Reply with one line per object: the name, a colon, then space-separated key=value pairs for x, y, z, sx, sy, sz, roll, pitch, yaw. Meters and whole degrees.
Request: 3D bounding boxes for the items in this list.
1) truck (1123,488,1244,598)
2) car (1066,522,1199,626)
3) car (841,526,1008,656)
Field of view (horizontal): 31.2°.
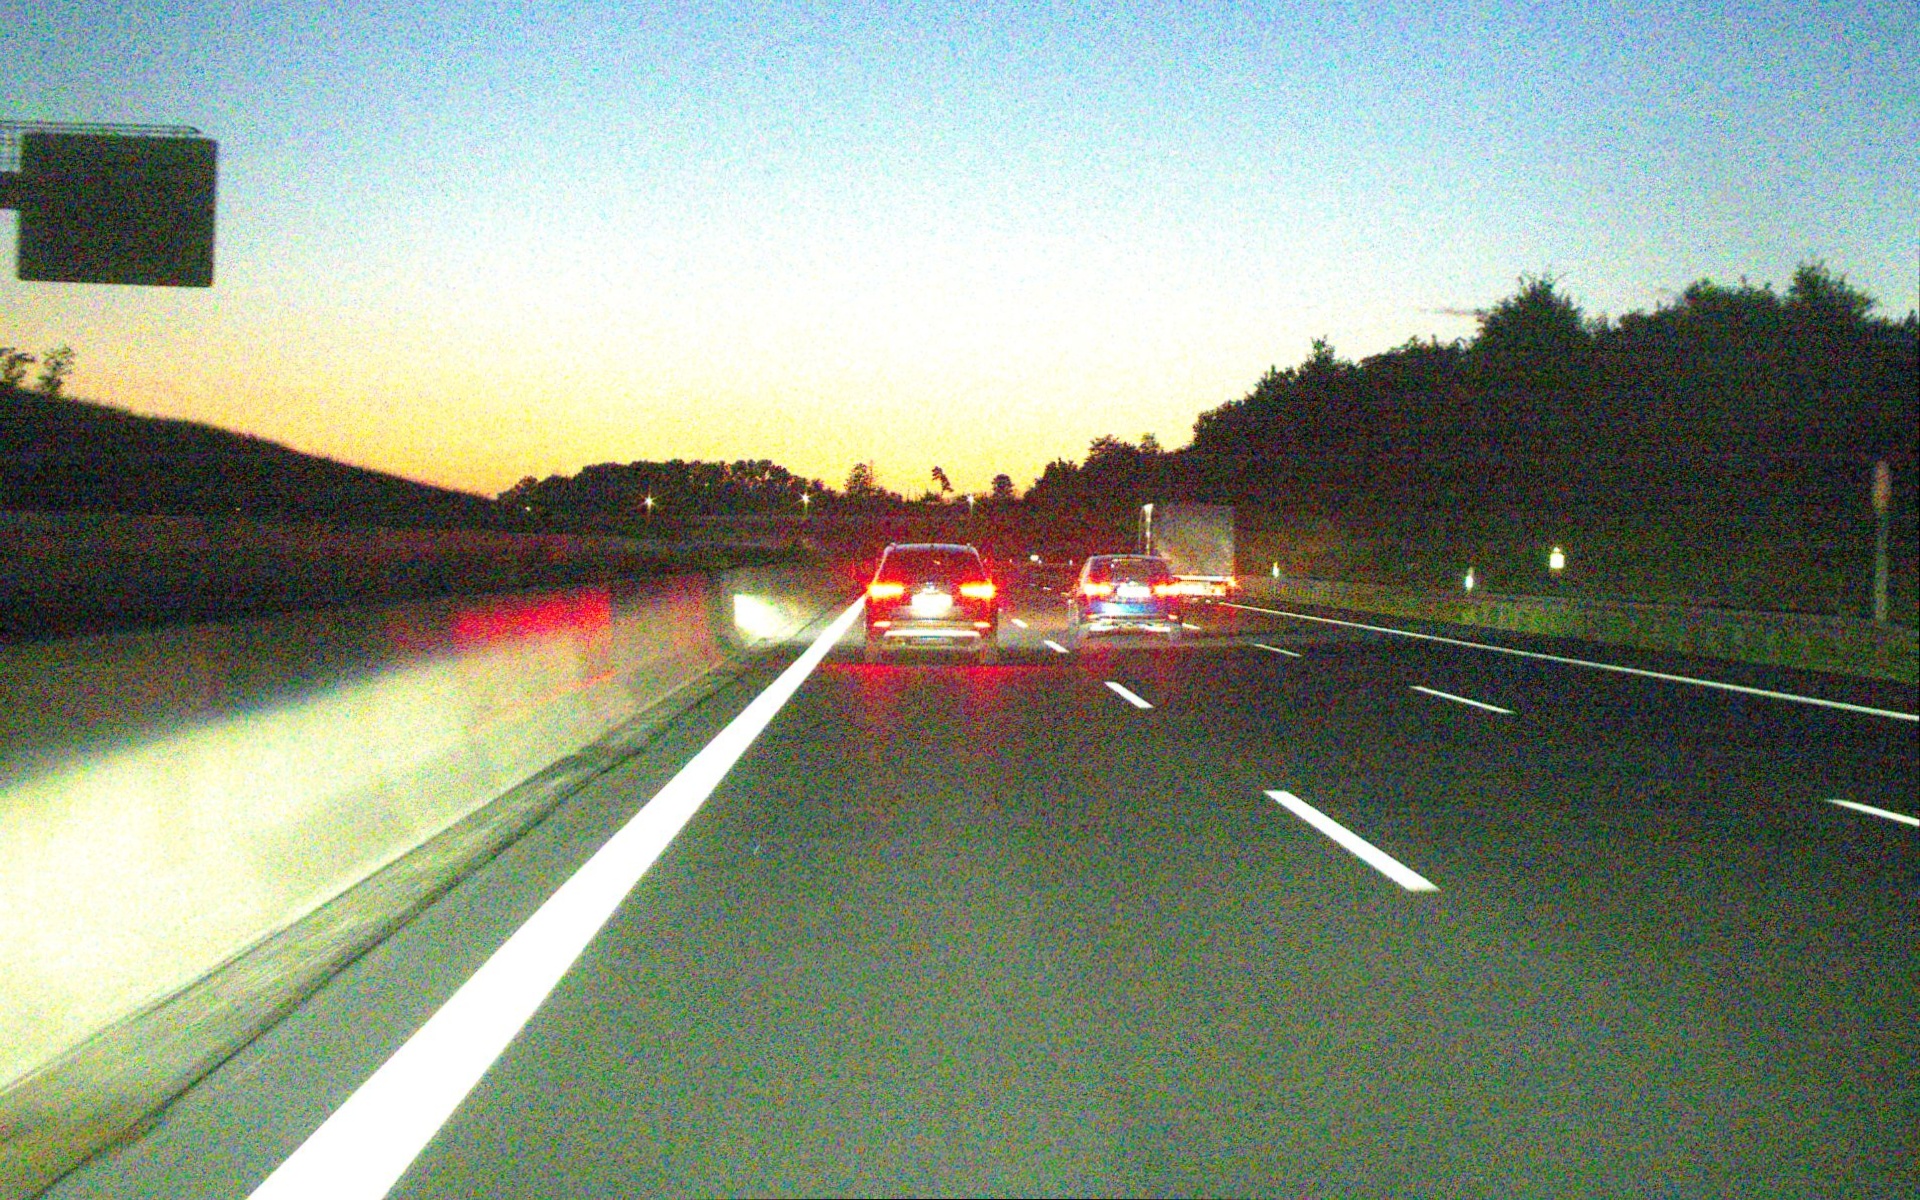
truck: x=6.504 y=-1.679 z=101.019 sx=2.603 sy=2.865 sz=7.486 roll=5 pitch=1 yaw=-2
car: x=2.979 y=-0.468 z=60.180 sx=1.911 sy=1.724 sz=4.000 roll=1 pitch=1 yaw=-2
car: x=-0.534 y=-0.144 z=46.543 sx=2.105 sy=1.612 sz=4.205 roll=2 pitch=1 yaw=-2
